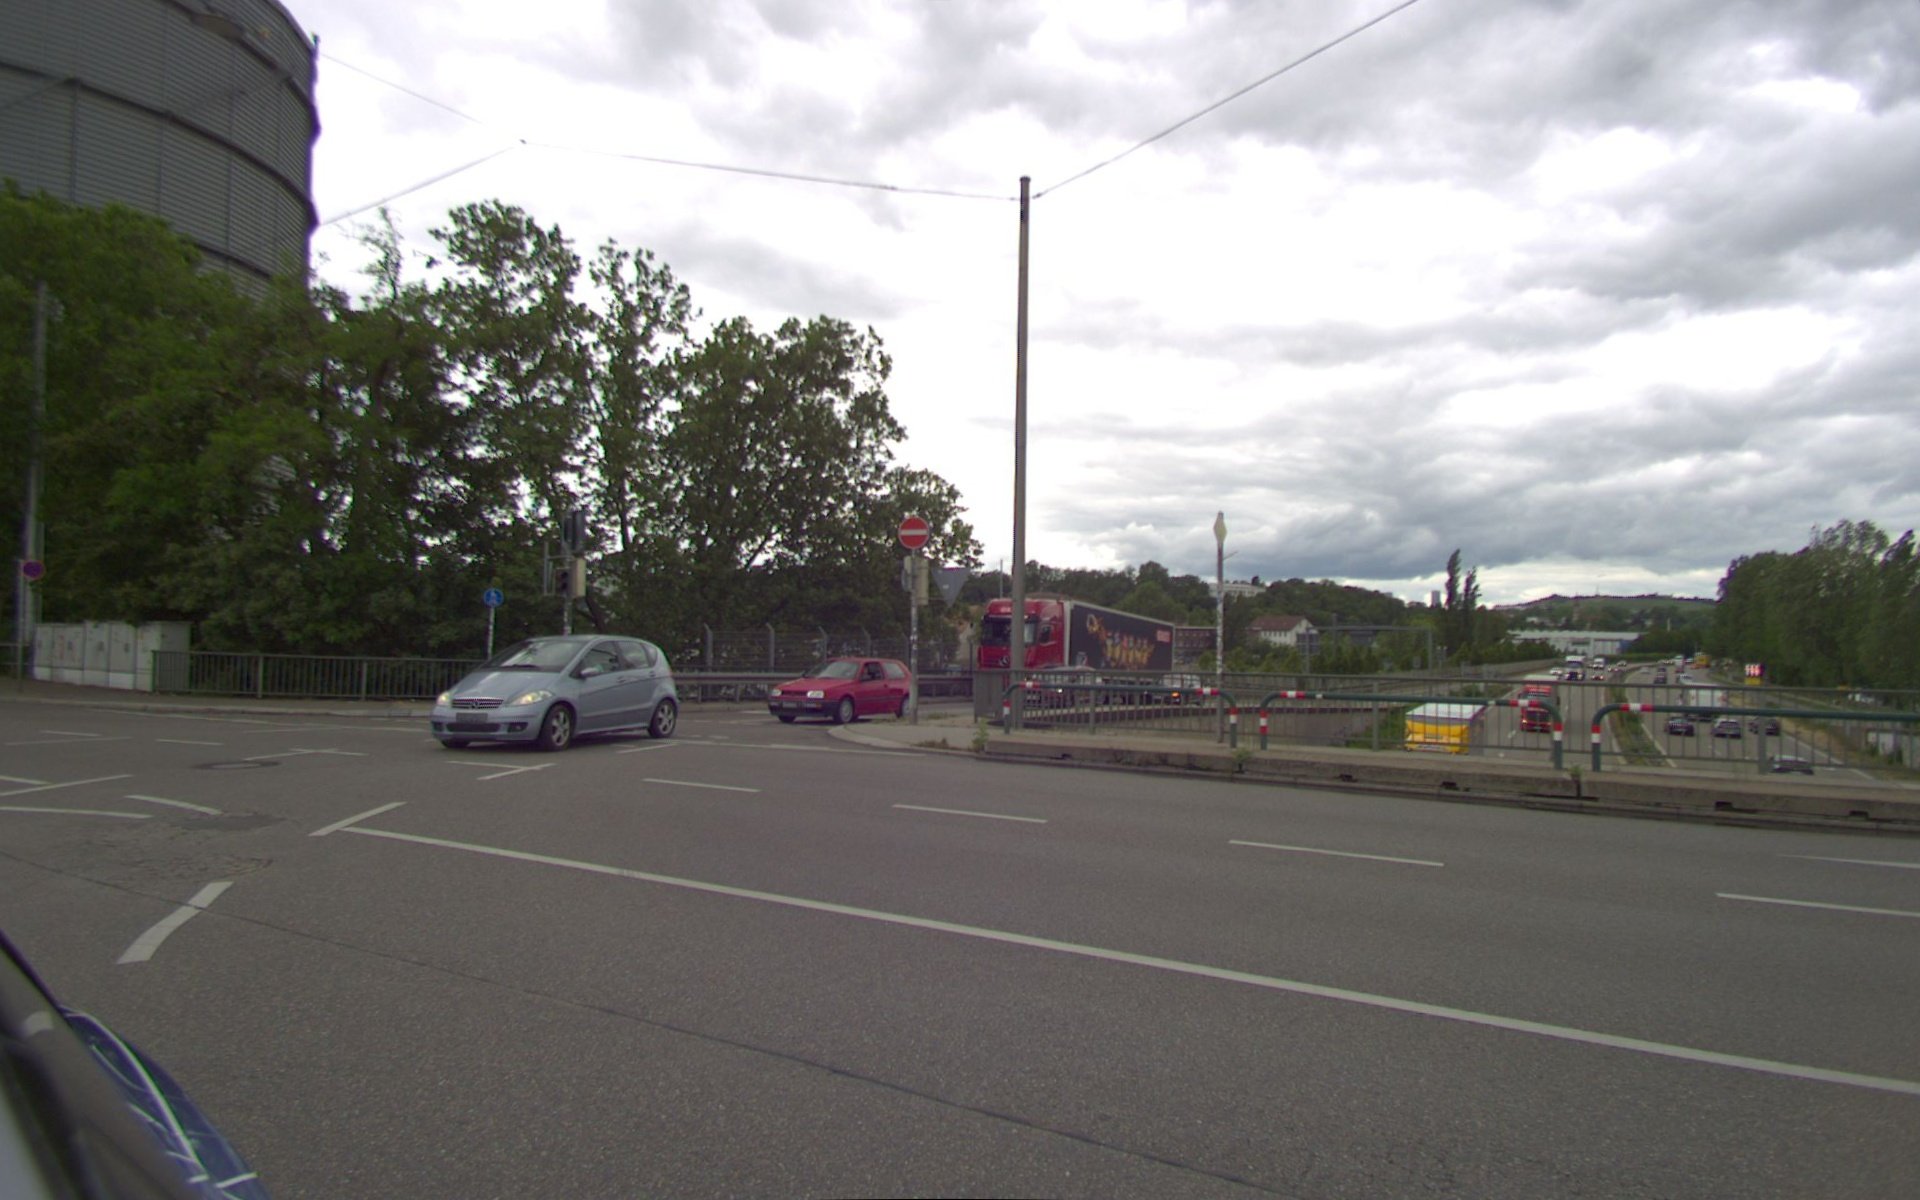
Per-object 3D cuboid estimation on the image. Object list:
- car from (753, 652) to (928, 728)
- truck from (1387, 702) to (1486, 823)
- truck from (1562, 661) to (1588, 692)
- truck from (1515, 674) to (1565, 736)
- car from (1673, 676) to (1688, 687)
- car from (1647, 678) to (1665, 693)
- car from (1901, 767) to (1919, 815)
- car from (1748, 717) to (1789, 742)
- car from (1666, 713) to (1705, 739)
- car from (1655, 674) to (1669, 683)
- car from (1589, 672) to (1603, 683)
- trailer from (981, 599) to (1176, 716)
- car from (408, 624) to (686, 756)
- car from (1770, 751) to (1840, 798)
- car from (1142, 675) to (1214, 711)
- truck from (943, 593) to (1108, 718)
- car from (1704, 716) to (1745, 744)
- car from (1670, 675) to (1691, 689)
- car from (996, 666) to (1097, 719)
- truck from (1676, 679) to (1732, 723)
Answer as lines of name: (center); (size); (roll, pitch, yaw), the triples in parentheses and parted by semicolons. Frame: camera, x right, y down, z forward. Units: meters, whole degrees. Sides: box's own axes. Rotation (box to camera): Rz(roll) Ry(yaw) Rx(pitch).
car: (-2.507, 1.948, 22.159); (1.742, 1.474, 3.912); (-1, -5, 31)
truck: (21.972, 7.143, 46.302); (2.893, 4.215, 9.915); (2, -1, 32)
truck: (108.008, 13.306, 177.553); (3.370, 4.992, 13.778); (-1, -2, 33)
truck: (49.110, 8.652, 85.519); (2.883, 4.389, 13.107); (0, -2, 33)
car: (127.682, 14.401, 179.330); (1.995, 1.781, 3.443); (2, -3, 34)
car: (112.893, 13.874, 164.129); (2.219, 2.029, 4.590); (1, 0, 33)
car: (42.402, 8.401, 43.369); (2.131, 1.730, 4.378); (1, -1, 31)
car: (68.072, 10.876, 85.244); (2.131, 1.577, 4.378); (1, -1, 31)
car: (59.108, 10.265, 82.548); (2.331, 1.730, 4.678); (-3, -3, 33)
car: (135.335, 15.123, 195.141); (1.995, 1.730, 3.598); (2, -3, 34)
car: (112.386, 13.674, 178.851); (1.908, 1.730, 3.598); (2, -3, 34)
trailer: (5.747, 2.713, 44.712); (3.656, 4.355, 13.644); (-1, -5, 29)
car: (-5.688, 1.249, 14.459); (1.733, 1.616, 3.661); (0, -4, 17)
car: (44.337, 9.113, 53.219); (2.131, 1.730, 4.378); (1, -1, 31)
car: (9.370, 3.929, 43.188); (1.691, 1.431, 4.420); (-1, -5, 31)
truck: (2.753, 2.247, 39.346); (3.656, 4.355, 7.163); (-1, -5, 29)
car: (61.888, 10.503, 81.998); (2.131, 1.730, 4.378); (1, -1, 31)
car: (117.973, 13.429, 165.732); (2.591, 2.029, 4.589); (1, -2, 33)
car: (2.871, 2.911, 32.671); (1.690, 1.431, 4.425); (-1, -2, 28)
truck: (71.032, 9.557, 96.770); (3.583, 3.482, 8.151); (2, -1, 32)
